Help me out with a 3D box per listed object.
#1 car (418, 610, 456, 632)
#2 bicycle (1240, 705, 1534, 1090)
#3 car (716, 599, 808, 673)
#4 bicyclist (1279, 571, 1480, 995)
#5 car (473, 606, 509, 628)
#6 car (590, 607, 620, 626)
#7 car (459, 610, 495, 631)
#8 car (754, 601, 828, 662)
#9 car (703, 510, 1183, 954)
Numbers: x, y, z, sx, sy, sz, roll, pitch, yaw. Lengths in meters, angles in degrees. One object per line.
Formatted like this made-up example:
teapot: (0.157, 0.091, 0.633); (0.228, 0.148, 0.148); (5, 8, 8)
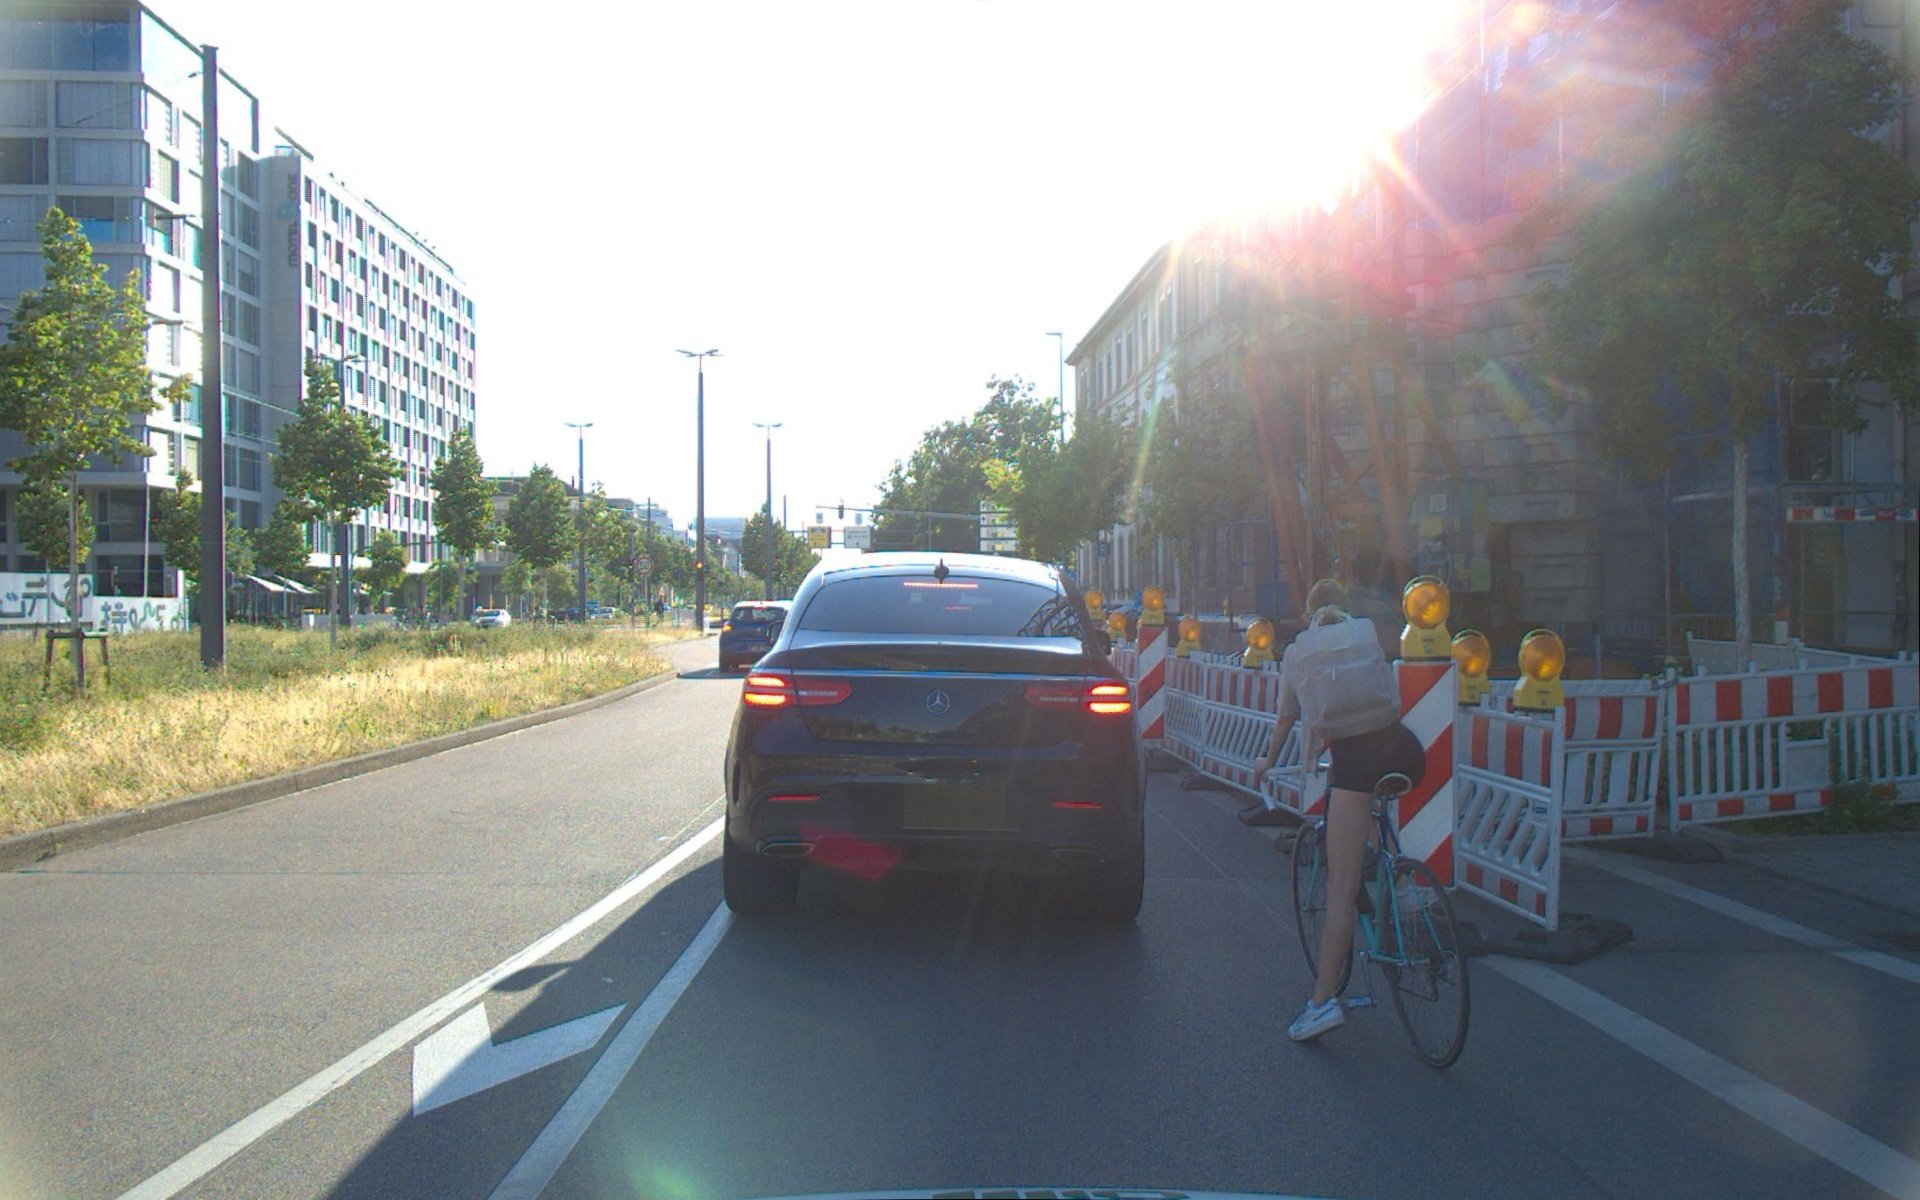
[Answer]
car: (-36.983, 1.479, 116.985); (1.674, 1.467, 3.580); (1, 0, -3)
bicycle: (1.454, 0.965, 5.923); (0.502, 1.070, 1.724); (1, 0, -3)
car: (-4.164, 0.742, 35.256); (1.674, 1.467, 3.580); (1, 0, -3)
bicyclist: (1.469, 0.618, 5.866); (0.512, 1.420, 0.614); (1, -1, -4)
car: (-32.812, 1.157, 115.779); (1.674, 1.467, 3.580); (1, 0, -3)
car: (-28.156, 1.303, 131.264); (1.674, 1.467, 3.580); (1, 0, -3)
car: (-35.023, 1.461, 119.947); (1.674, 1.467, 3.580); (1, 0, -3)
car: (-4.316, 0.787, 42.611); (1.674, 1.467, 3.580); (1, 0, -3)
car: (-0.094, 0.555, 8.821); (1.953, 1.803, 3.999); (1, 0, -1)
